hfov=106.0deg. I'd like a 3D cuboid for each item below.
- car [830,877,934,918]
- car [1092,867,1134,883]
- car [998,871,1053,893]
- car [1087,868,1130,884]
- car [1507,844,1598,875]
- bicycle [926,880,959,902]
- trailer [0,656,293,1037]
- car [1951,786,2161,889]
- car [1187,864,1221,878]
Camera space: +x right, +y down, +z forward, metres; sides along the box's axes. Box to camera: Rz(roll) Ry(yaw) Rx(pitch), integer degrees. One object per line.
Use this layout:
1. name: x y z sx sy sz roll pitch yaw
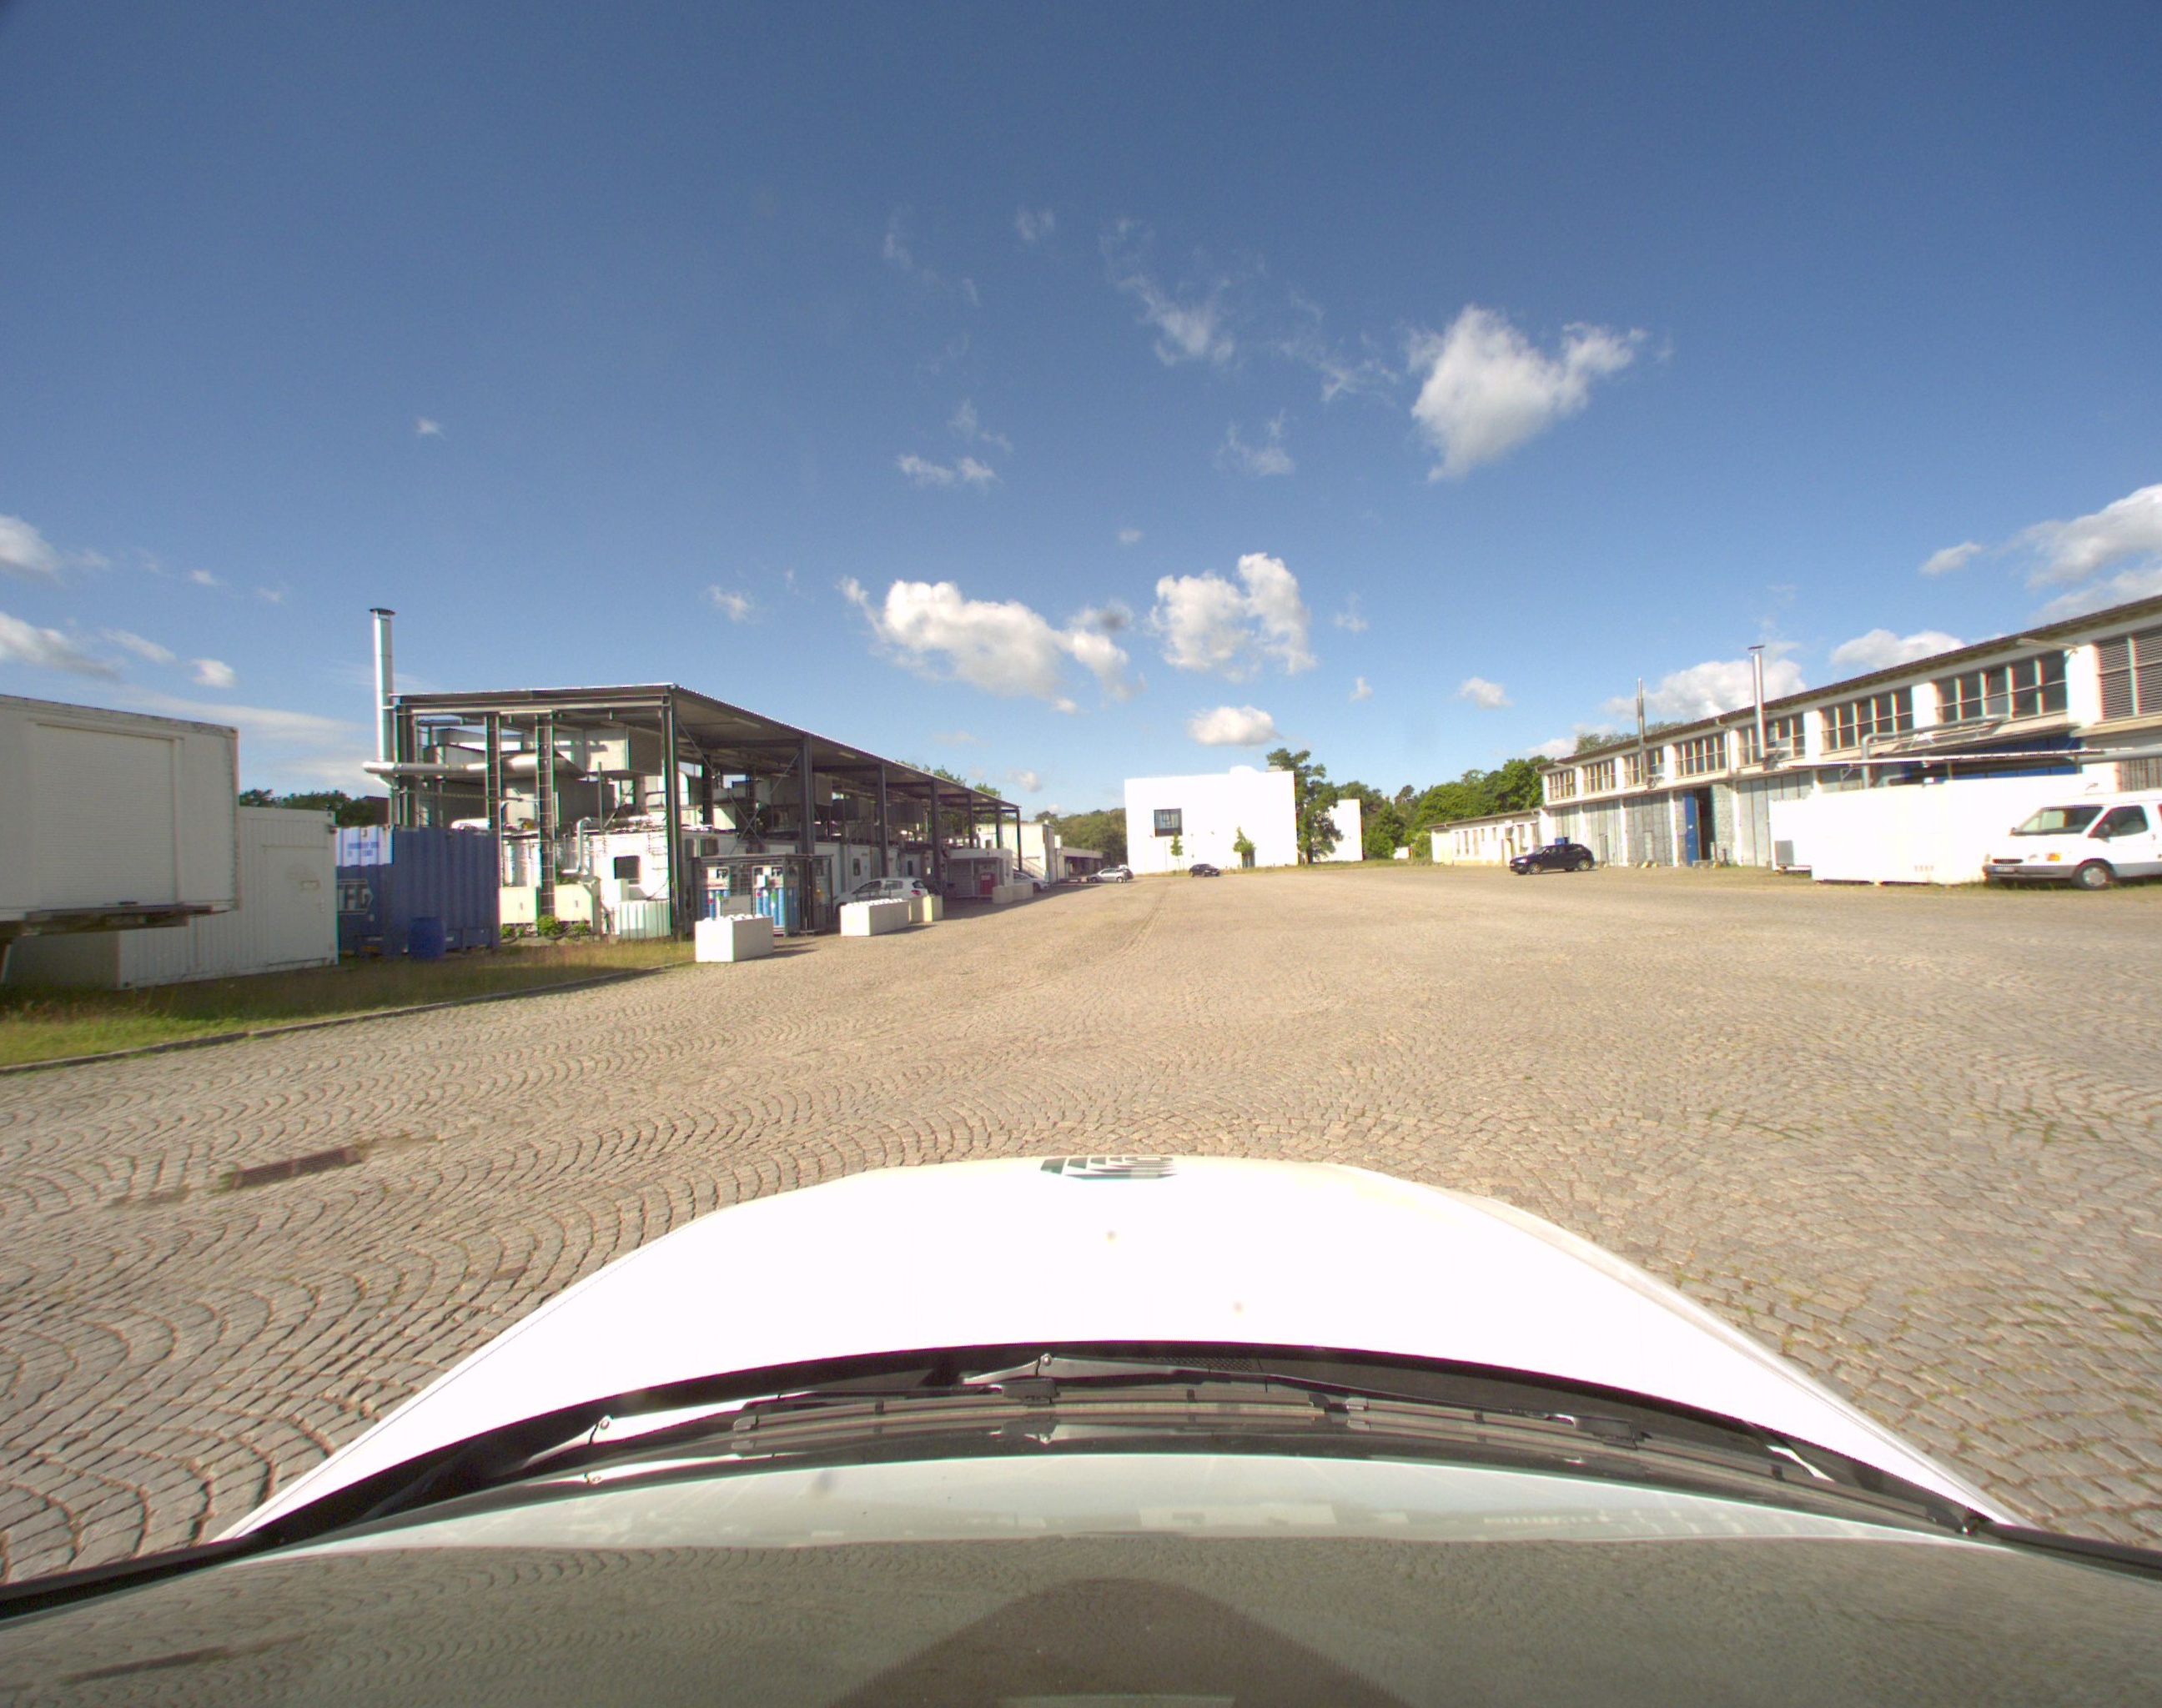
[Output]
1. car: -7.539 1.640 31.007 3.447 1.376 1.612 -3 -1 3
2. car: 3.394 2.215 85.666 4.323 1.470 1.743 -3 -1 5
3. car: -3.980 2.006 58.418 3.669 1.409 1.677 -3 -1 3
4. car: 2.772 2.258 82.469 4.154 1.404 1.743 -3 -1 5
5. car: 26.478 0.331 45.821 4.043 1.470 1.743 -3 -2 5
6. bicycle: -7.584 2.034 44.592 1.657 1.136 0.486 -3 -2 5
7. trailer: -16.199 0.179 10.375 10.787 3.911 2.788 -3 -1 8
8. car: 23.352 -0.406 18.360 4.760 2.081 2.015 -4 -2 9
9. car: 13.052 1.816 86.577 1.743 1.429 4.043 -2 -1 -23
